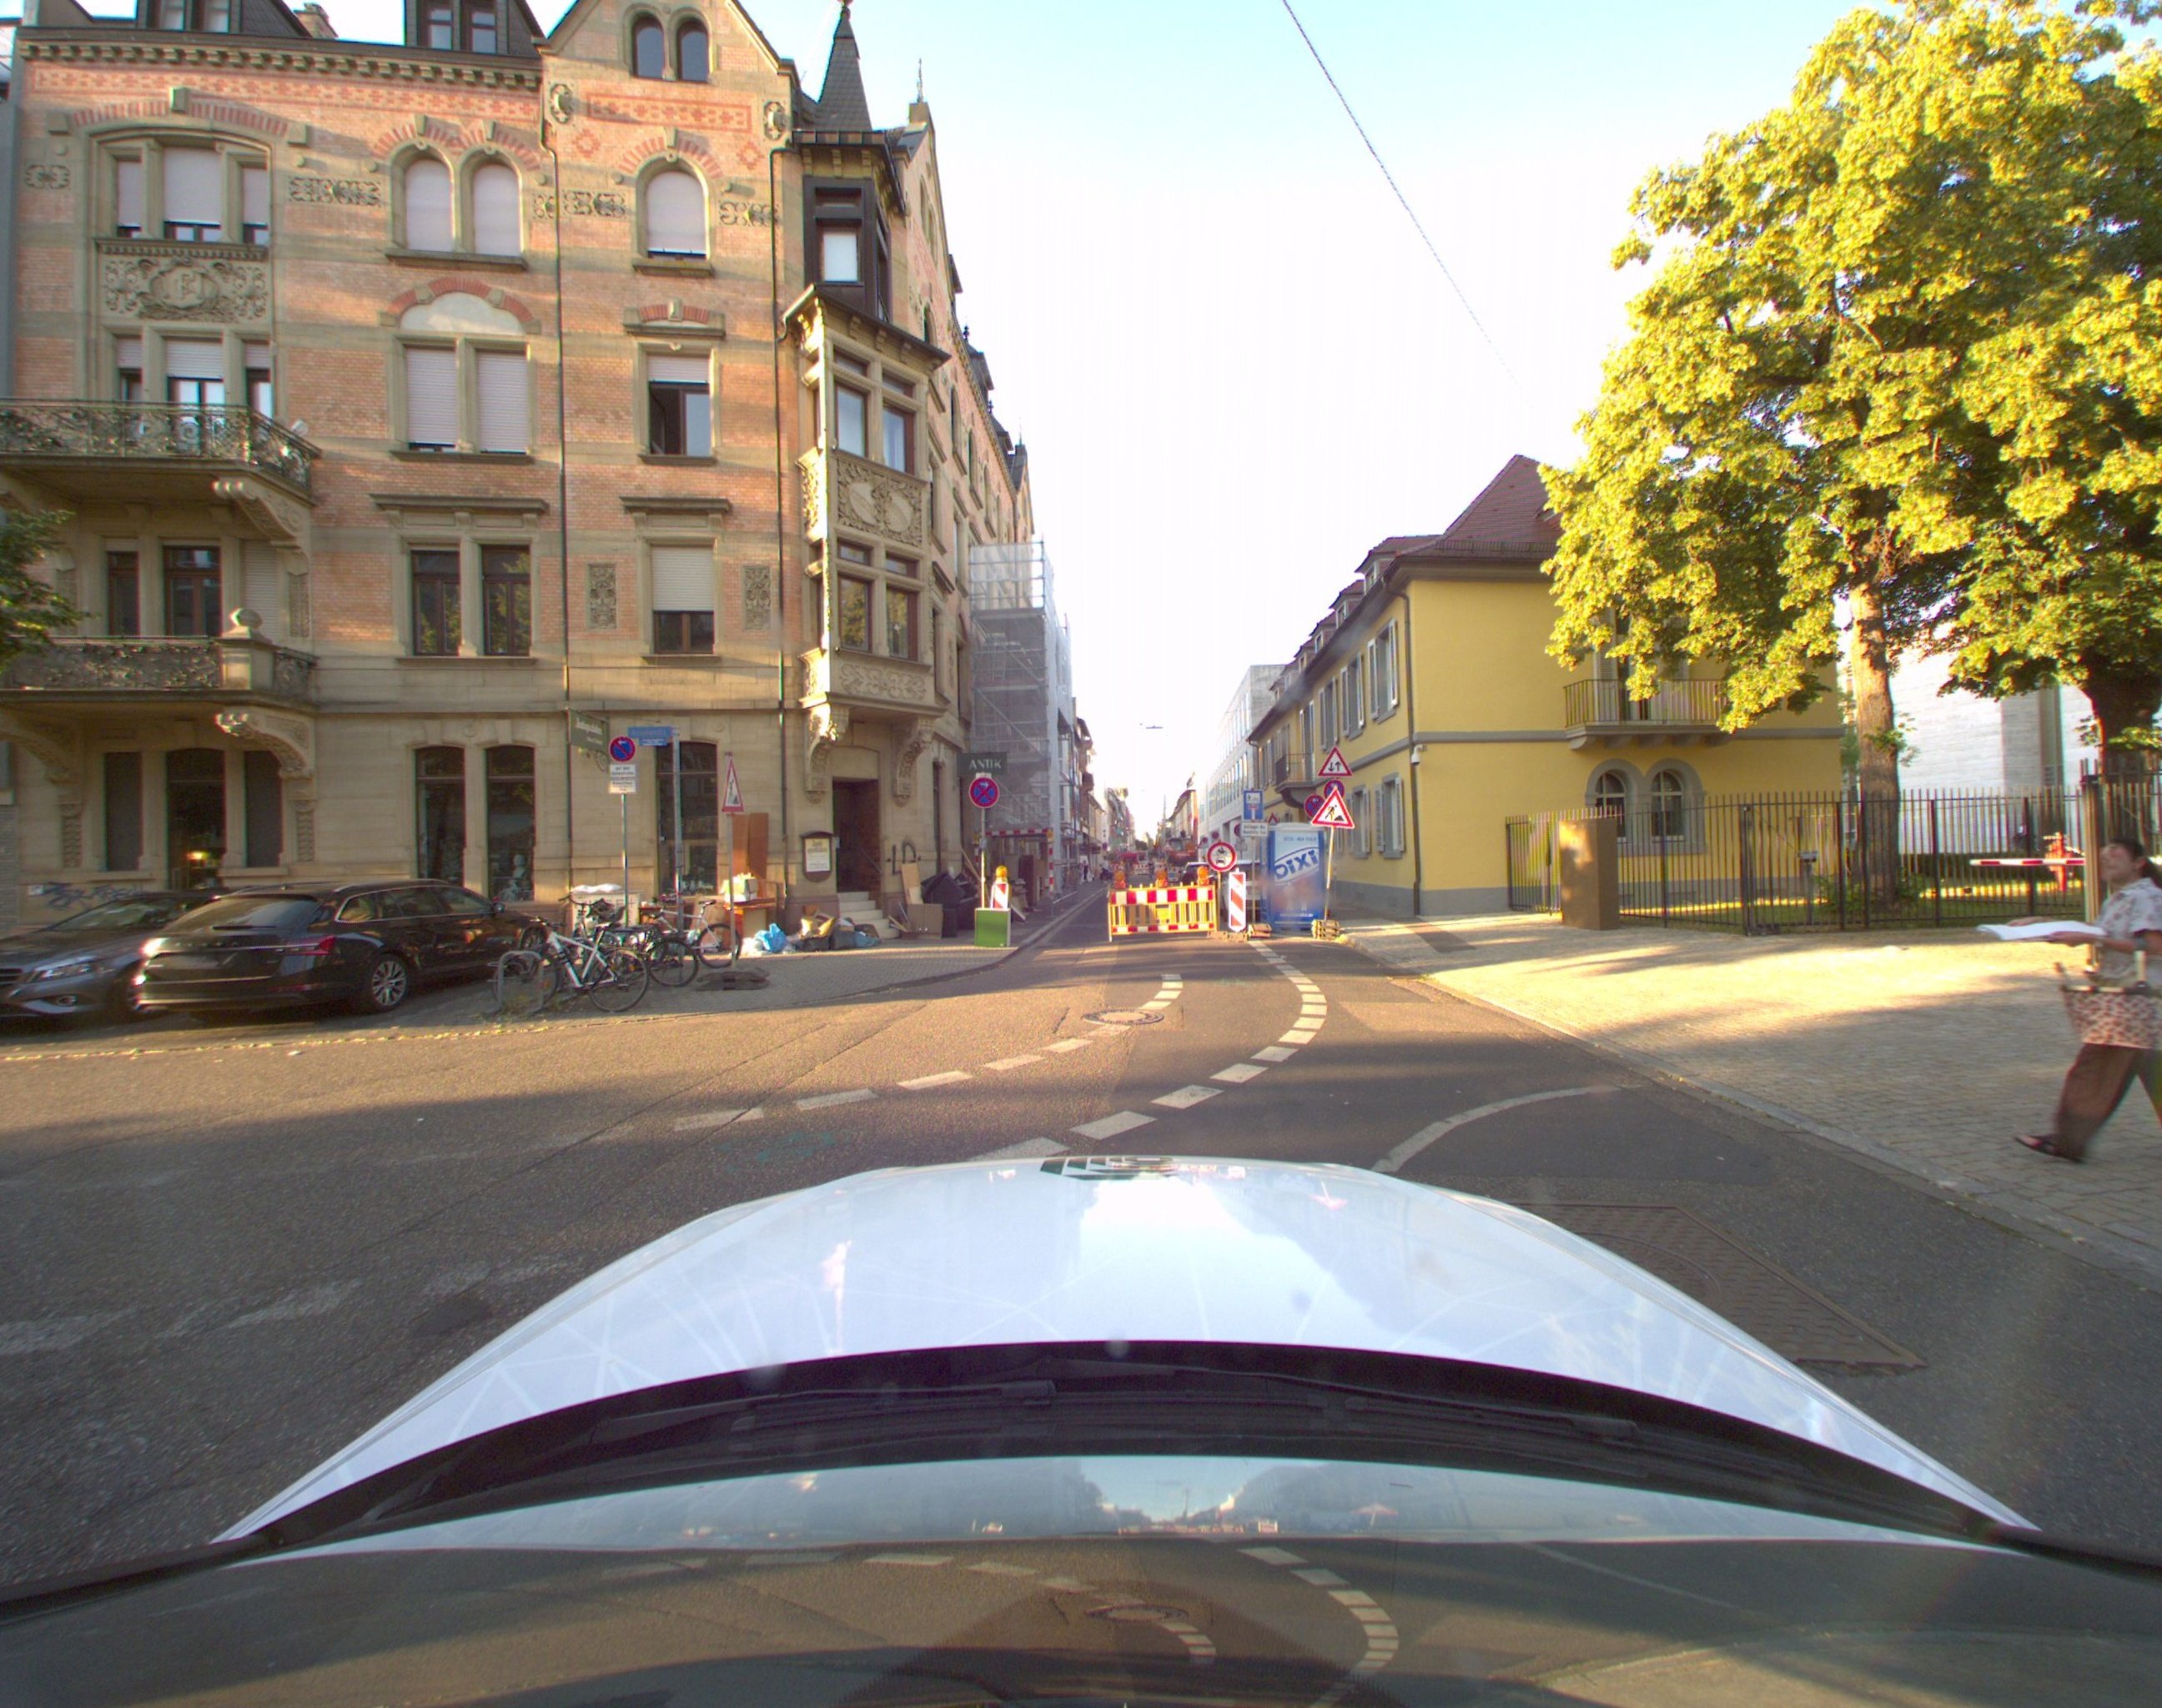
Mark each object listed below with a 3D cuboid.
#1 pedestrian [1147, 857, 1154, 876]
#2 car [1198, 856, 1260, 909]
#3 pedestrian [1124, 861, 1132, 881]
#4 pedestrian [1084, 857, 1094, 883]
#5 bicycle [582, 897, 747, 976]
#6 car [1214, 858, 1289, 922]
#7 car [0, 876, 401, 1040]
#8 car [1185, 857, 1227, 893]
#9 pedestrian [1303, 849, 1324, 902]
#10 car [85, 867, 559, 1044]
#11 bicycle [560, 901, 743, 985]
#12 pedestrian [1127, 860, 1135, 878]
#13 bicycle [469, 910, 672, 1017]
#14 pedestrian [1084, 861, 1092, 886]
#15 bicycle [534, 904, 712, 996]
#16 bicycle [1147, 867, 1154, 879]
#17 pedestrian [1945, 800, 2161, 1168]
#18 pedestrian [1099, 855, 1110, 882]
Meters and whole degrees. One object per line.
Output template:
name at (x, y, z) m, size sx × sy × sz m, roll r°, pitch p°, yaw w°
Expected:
pedestrian at (5.490, 0.965, 64.349) m, size 0.502 × 1.461 × 0.513 m, roll -2°, pitch -1°, yaw 5°
car at (4.603, 0.833, 25.809) m, size 1.533 × 1.520 × 3.984 m, roll -2°, pitch 0°, yaw 5°
pedestrian at (3.551, 1.265, 61.410) m, size 0.502 × 1.461 × 0.513 m, roll -2°, pitch -1°, yaw 5°
pedestrian at (0.555, 1.117, 56.711) m, size 0.673 × 1.733 × 0.700 m, roll -1°, pitch -1°, yaw 1°
bicycle at (-6.094, 1.191, 11.991) m, size 2.101 × 1.040 × 0.464 m, roll -1°, pitch 0°, yaw -7°
car at (4.350, 0.869, 21.162) m, size 1.533 × 1.520 × 3.226 m, roll 0°, pitch 0°, yaw 5°
car at (-11.421, 1.125, 10.415) m, size 1.859 × 1.479 × 4.533 m, roll -2°, pitch 1°, yaw -5°
car at (5.756, 0.947, 37.767) m, size 1.709 × 1.520 × 3.226 m, roll -2°, pitch 0°, yaw 5°
pedestrian at (7.141, 0.650, 24.999) m, size 0.464 × 1.595 × 0.674 m, roll -2°, pitch -1°, yaw 7°
car at (-8.833, 1.017, 10.218) m, size 1.902 × 1.511 × 4.533 m, roll -2°, pitch 1°, yaw -5°
bicycle at (-5.858, 1.199, 11.196) m, size 2.101 × 1.014 × 0.638 m, roll -1°, pitch 0°, yaw -7°
pedestrian at (3.945, 1.190, 64.308) m, size 0.501 × 1.461 × 0.514 m, roll -2°, pitch -1°, yaw 10°
bicycle at (-5.613, 1.188, 9.026) m, size 1.822 × 1.047 × 0.571 m, roll -1°, pitch 0°, yaw -4°
pedestrian at (0.439, 1.272, 52.933) m, size 0.339 × 1.566 × 0.423 m, roll -2°, pitch -1°, yaw 26°
bicycle at (-5.728, 1.189, 10.263) m, size 1.824 × 1.014 × 0.638 m, roll -1°, pitch 0°, yaw -7°
bicycle at (5.512, 1.500, 64.397) m, size 0.502 × 0.884 × 1.478 m, roll -2°, pitch 0°, yaw 5°
pedestrian at (5.011, 0.588, 3.984) m, size 0.948 × 1.659 × 0.643 m, roll -4°, pitch -2°, yaw 42°
pedestrian at (1.570, 0.993, 55.041) m, size 0.508 × 1.764 × 0.507 m, roll -1°, pitch -1°, yaw -37°
